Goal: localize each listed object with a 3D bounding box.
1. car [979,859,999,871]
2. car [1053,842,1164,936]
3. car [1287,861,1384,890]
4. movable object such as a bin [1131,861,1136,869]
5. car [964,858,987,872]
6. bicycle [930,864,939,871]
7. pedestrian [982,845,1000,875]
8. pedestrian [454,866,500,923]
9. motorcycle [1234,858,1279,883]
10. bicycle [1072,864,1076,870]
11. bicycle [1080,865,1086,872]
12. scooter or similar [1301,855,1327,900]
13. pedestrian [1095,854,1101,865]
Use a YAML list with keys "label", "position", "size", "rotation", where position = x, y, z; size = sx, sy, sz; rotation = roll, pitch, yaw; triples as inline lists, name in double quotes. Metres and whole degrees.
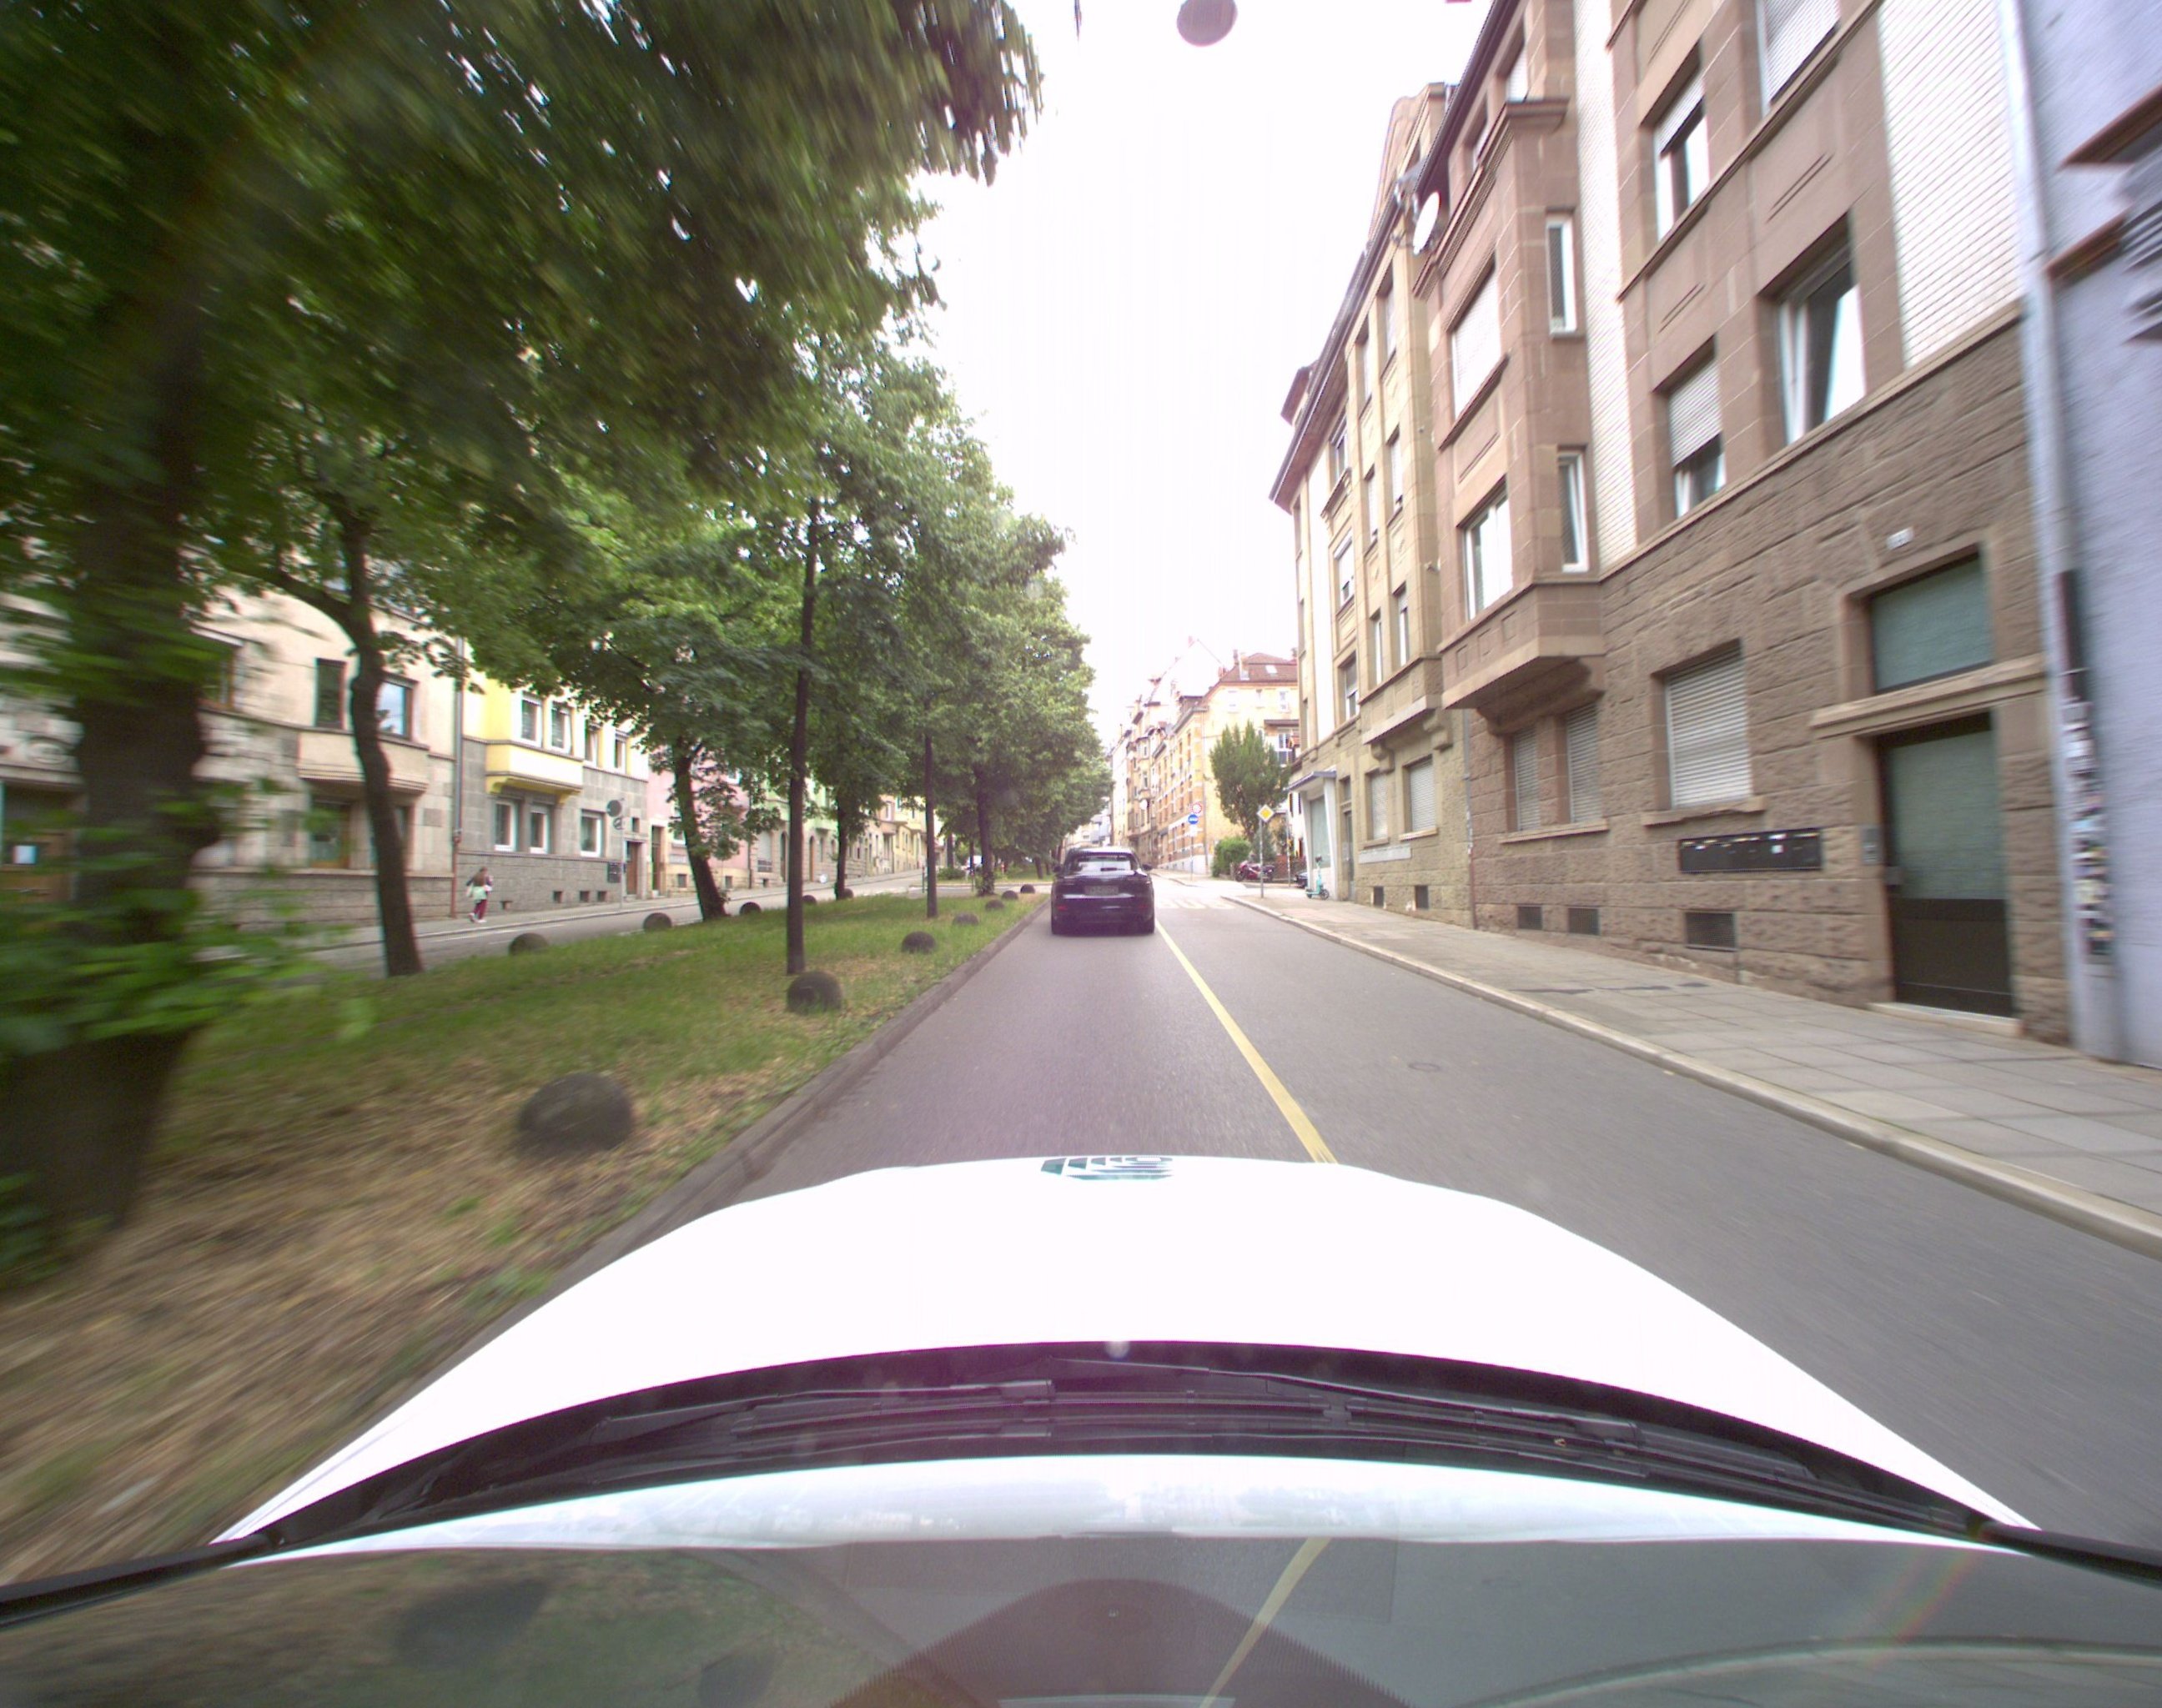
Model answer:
- label: "car"
  position: [-11.719, 1.411, 104.251]
  size: [1.751, 1.382, 4.671]
  rotation: [-2, 0, 2]
- label: "car"
  position: [0.481, 0.621, 16.686]
  size: [1.987, 1.665, 3.999]
  rotation: [0, 0, -1]
- label: "car"
  position: [12.269, 1.026, 39.431]
  size: [4.113, 1.285, 1.782]
  rotation: [0, 3, -2]
- label: "movable object such as a bin"
  position: [6.017, 1.210, 93.230]
  size: [0.593, 0.904, 0.562]
  rotation: [0, -1, -4]
- label: "car"
  position: [-11.510, 1.221, 89.452]
  size: [1.702, 1.382, 4.671]
  rotation: [-2, 0, 2]
- label: "bicycle"
  position: [-22.352, 2.044, 124.126]
  size: [0.766, 1.085, 2.018]
  rotation: [2, -3, -27]
- label: "pedestrian"
  position: [-5.363, 0.389, 48.504]
  size: [0.830, 1.712, 1.123]
  rotation: [-4, -3, 1]
- label: "pedestrian"
  position: [-16.156, 1.071, 21.795]
  size: [0.696, 1.460, 0.704]
  rotation: [0, 0, 2]
- label: "motorcycle"
  position: [9.047, 0.854, 42.081]
  size: [2.051, 1.268, 1.009]
  rotation: [1, -1, -3]
- label: "bicycle"
  position: [-1.359, 2.612, 163.894]
  size: [0.446, 1.037, 2.242]
  rotation: [-1, -3, -7]
- label: "bicycle"
  position: [0.393, 2.762, 152.887]
  size: [0.878, 1.129, 2.972]
  rotation: [0, -2, -6]
- label: "scooter or similar"
  position: [6.779, 0.678, 23.760]
  size: [0.408, 1.210, 1.146]
  rotation: [-3, 2, 1]
- label: "pedestrian"
  position: [2.671, 0.843, 126.819]
  size: [0.750, 1.693, 0.857]
  rotation: [-1, -3, -4]
